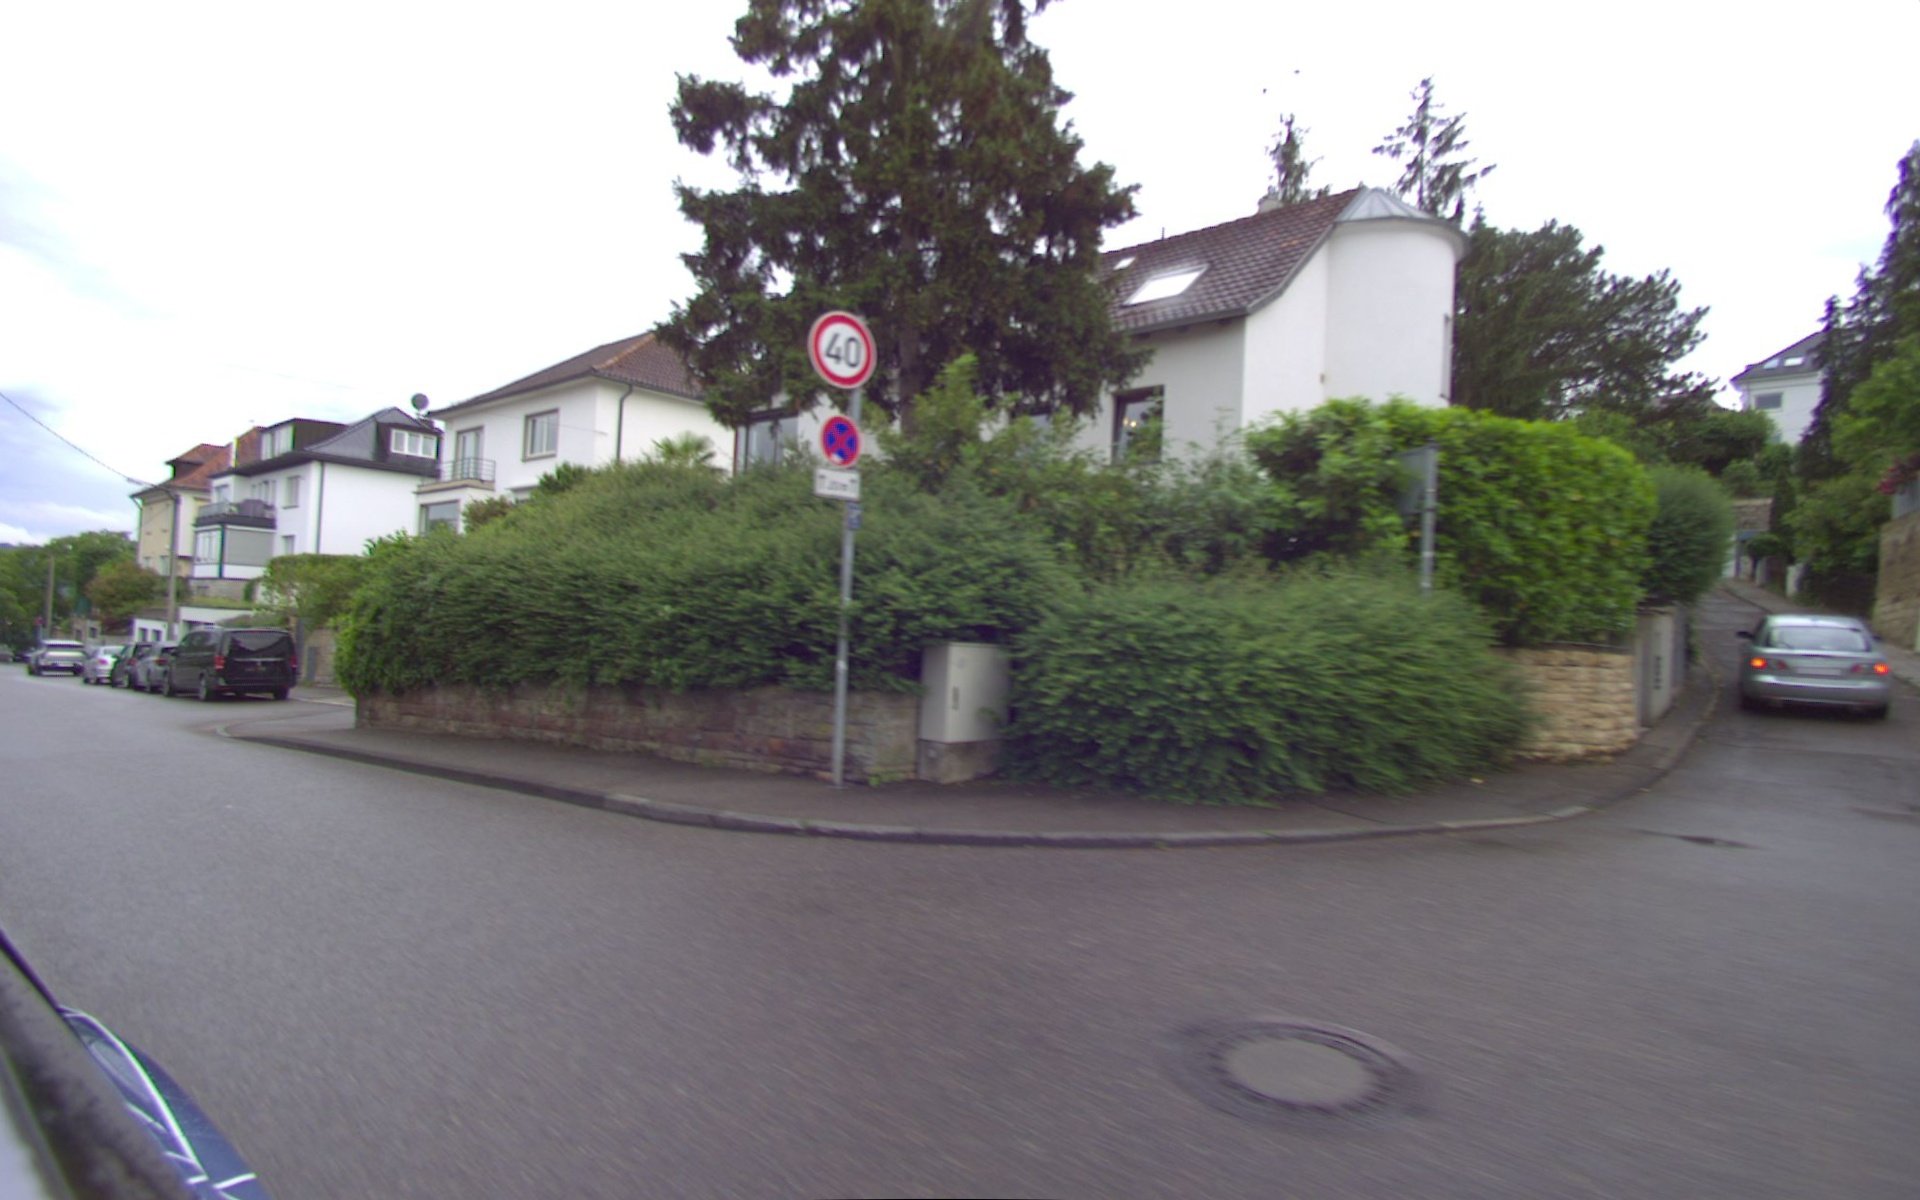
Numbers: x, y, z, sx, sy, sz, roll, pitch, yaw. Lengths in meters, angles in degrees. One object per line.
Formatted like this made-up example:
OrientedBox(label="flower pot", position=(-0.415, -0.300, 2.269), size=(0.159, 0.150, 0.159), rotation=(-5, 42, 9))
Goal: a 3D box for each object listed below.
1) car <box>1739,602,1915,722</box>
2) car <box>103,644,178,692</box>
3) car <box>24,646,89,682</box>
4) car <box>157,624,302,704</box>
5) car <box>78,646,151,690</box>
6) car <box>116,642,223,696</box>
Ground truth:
OrientedBox(label="car", position=(13.567, 0.866, 16.064), size=(1.819, 1.568, 4.325), rotation=(-2, 0, 37))
OrientedBox(label="car", position=(-27.576, 2.268, 34.047), size=(2.892, 1.502, 1.502), rotation=(-3, -3, 41))
OrientedBox(label="car", position=(-40.458, 2.804, 45.271), size=(4.001, 1.512, 1.843), rotation=(-2, -3, 44))
OrientedBox(label="car", position=(-19.643, 1.668, 27.139), size=(4.769, 1.972, 1.974), rotation=(-2, -3, 39))
OrientedBox(label="car", position=(-31.005, 2.468, 37.077), size=(3.436, 1.502, 1.573), rotation=(-3, -3, 42))
OrientedBox(label="car", position=(-24.286, 2.080, 31.042), size=(4.399, 1.502, 1.675), rotation=(-3, -3, 40))
